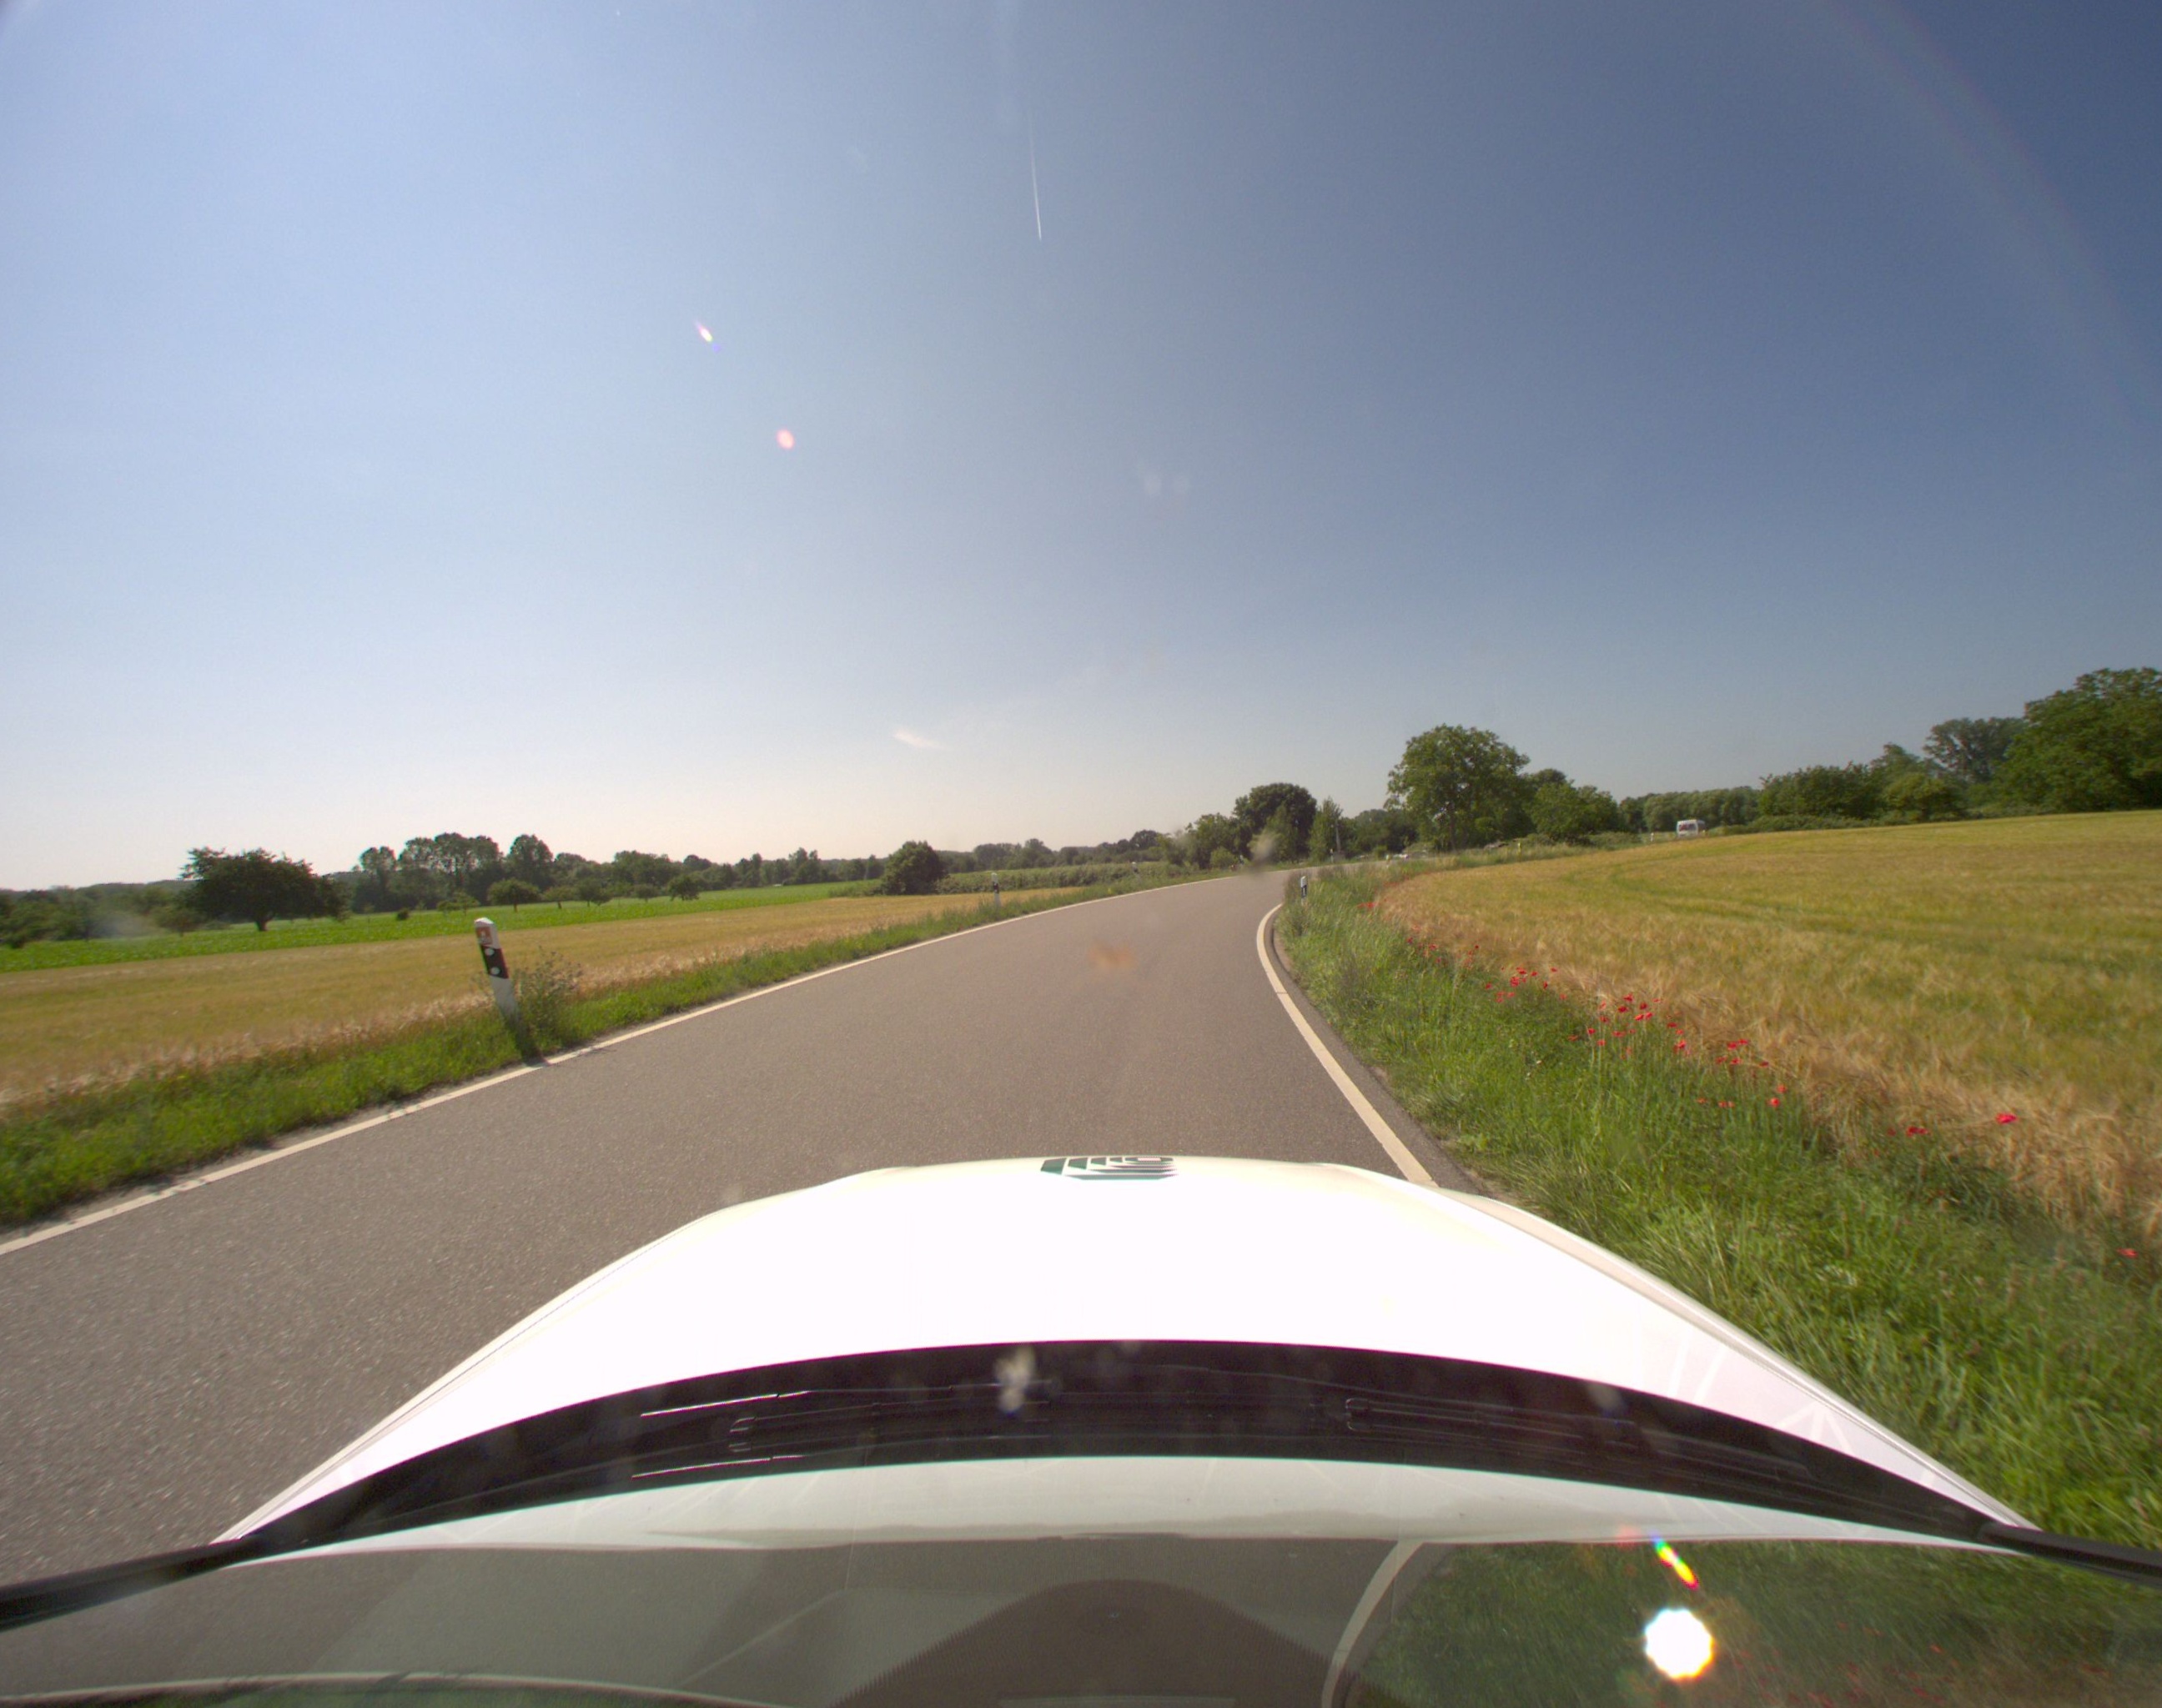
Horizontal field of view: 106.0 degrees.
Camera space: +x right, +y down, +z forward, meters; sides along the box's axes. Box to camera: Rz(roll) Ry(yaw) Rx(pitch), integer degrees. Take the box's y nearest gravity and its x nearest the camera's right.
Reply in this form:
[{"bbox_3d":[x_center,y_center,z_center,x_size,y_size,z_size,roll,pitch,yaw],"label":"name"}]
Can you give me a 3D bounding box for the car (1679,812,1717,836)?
[{"bbox_3d":[67.717,-3.281,89.350,5.717,2.367,2.086,-4,0,-41],"label":"car"}]
